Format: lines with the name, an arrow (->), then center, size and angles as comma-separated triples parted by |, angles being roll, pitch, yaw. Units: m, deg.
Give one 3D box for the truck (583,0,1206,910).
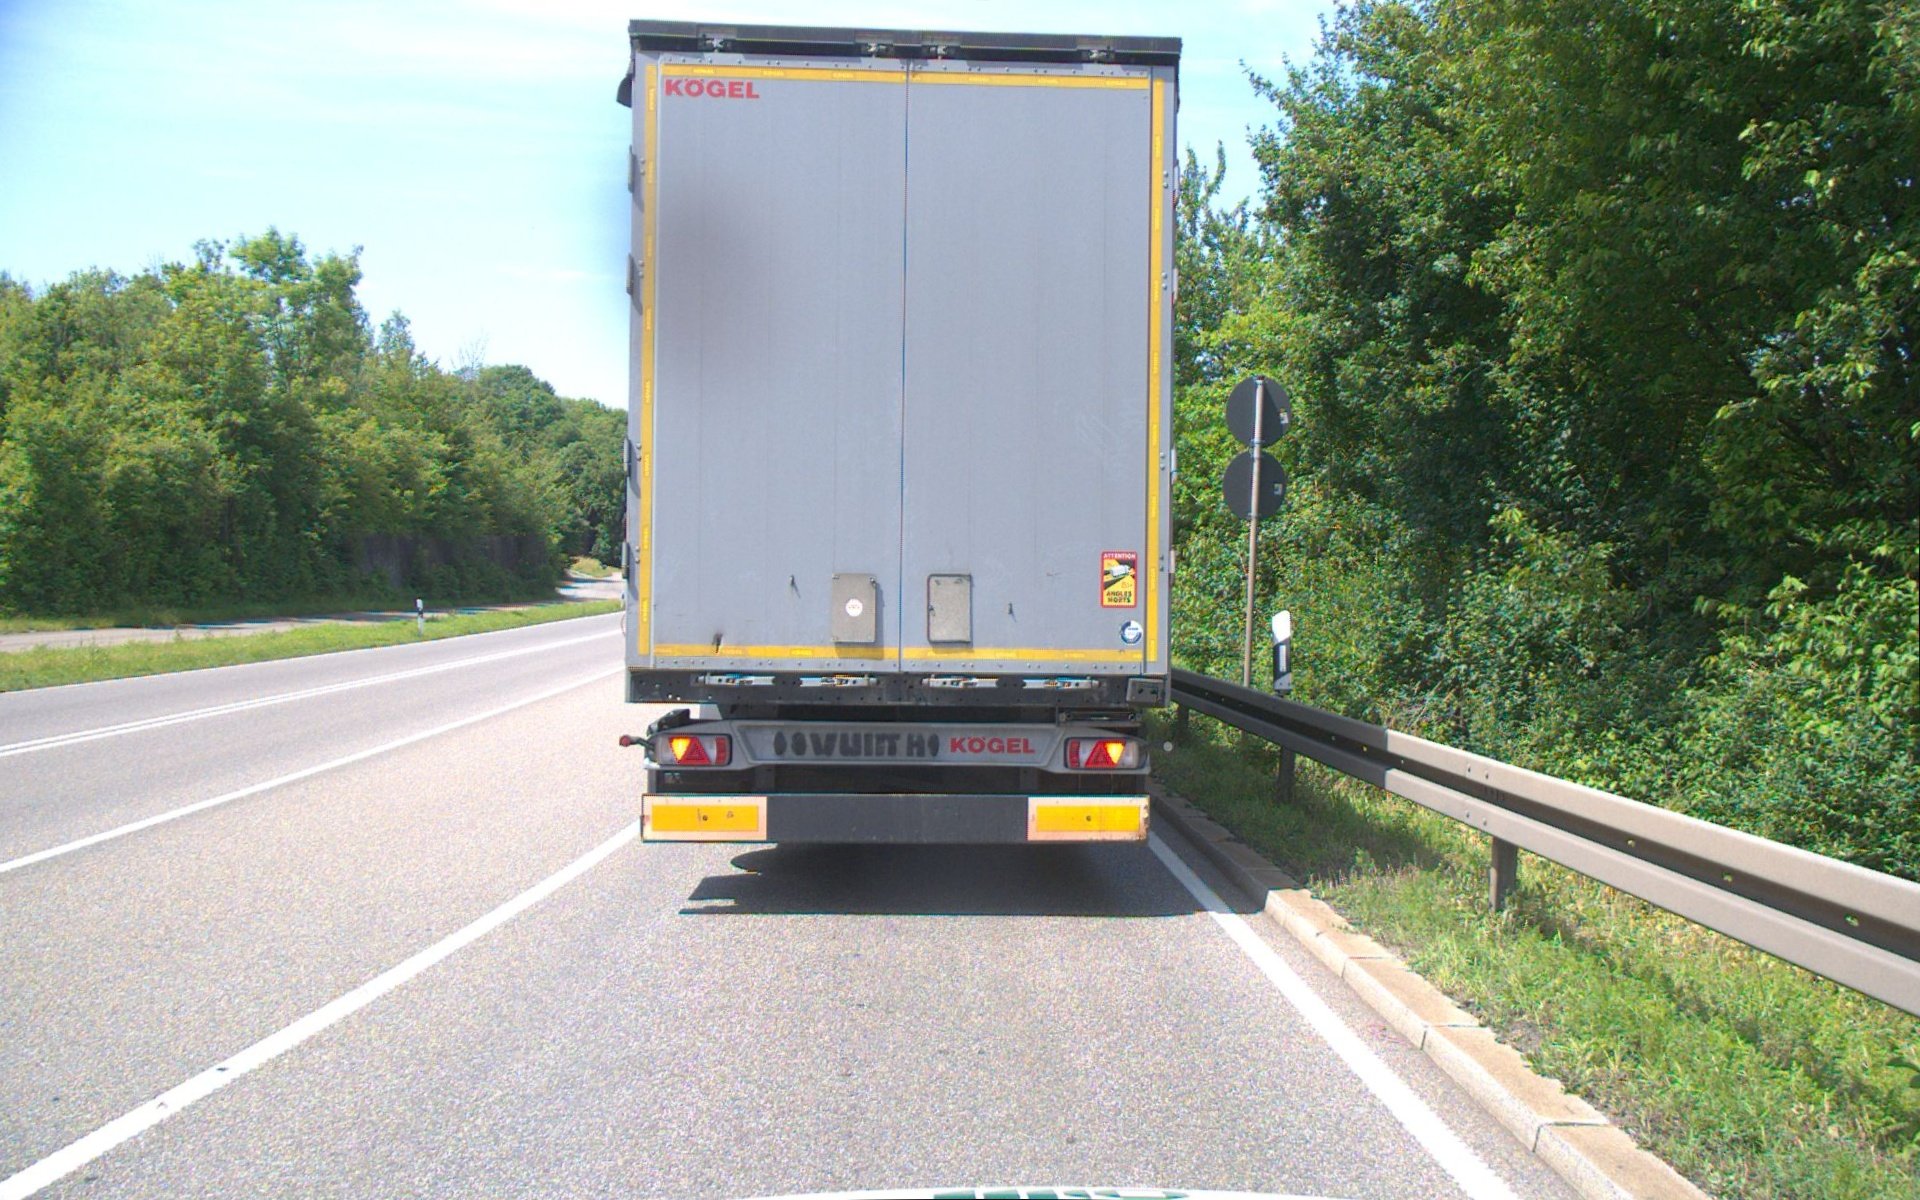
truck -> -0.435, -0.734, 13.247 | 2.701, 4.100, 11.920 | 1, 0, -2
